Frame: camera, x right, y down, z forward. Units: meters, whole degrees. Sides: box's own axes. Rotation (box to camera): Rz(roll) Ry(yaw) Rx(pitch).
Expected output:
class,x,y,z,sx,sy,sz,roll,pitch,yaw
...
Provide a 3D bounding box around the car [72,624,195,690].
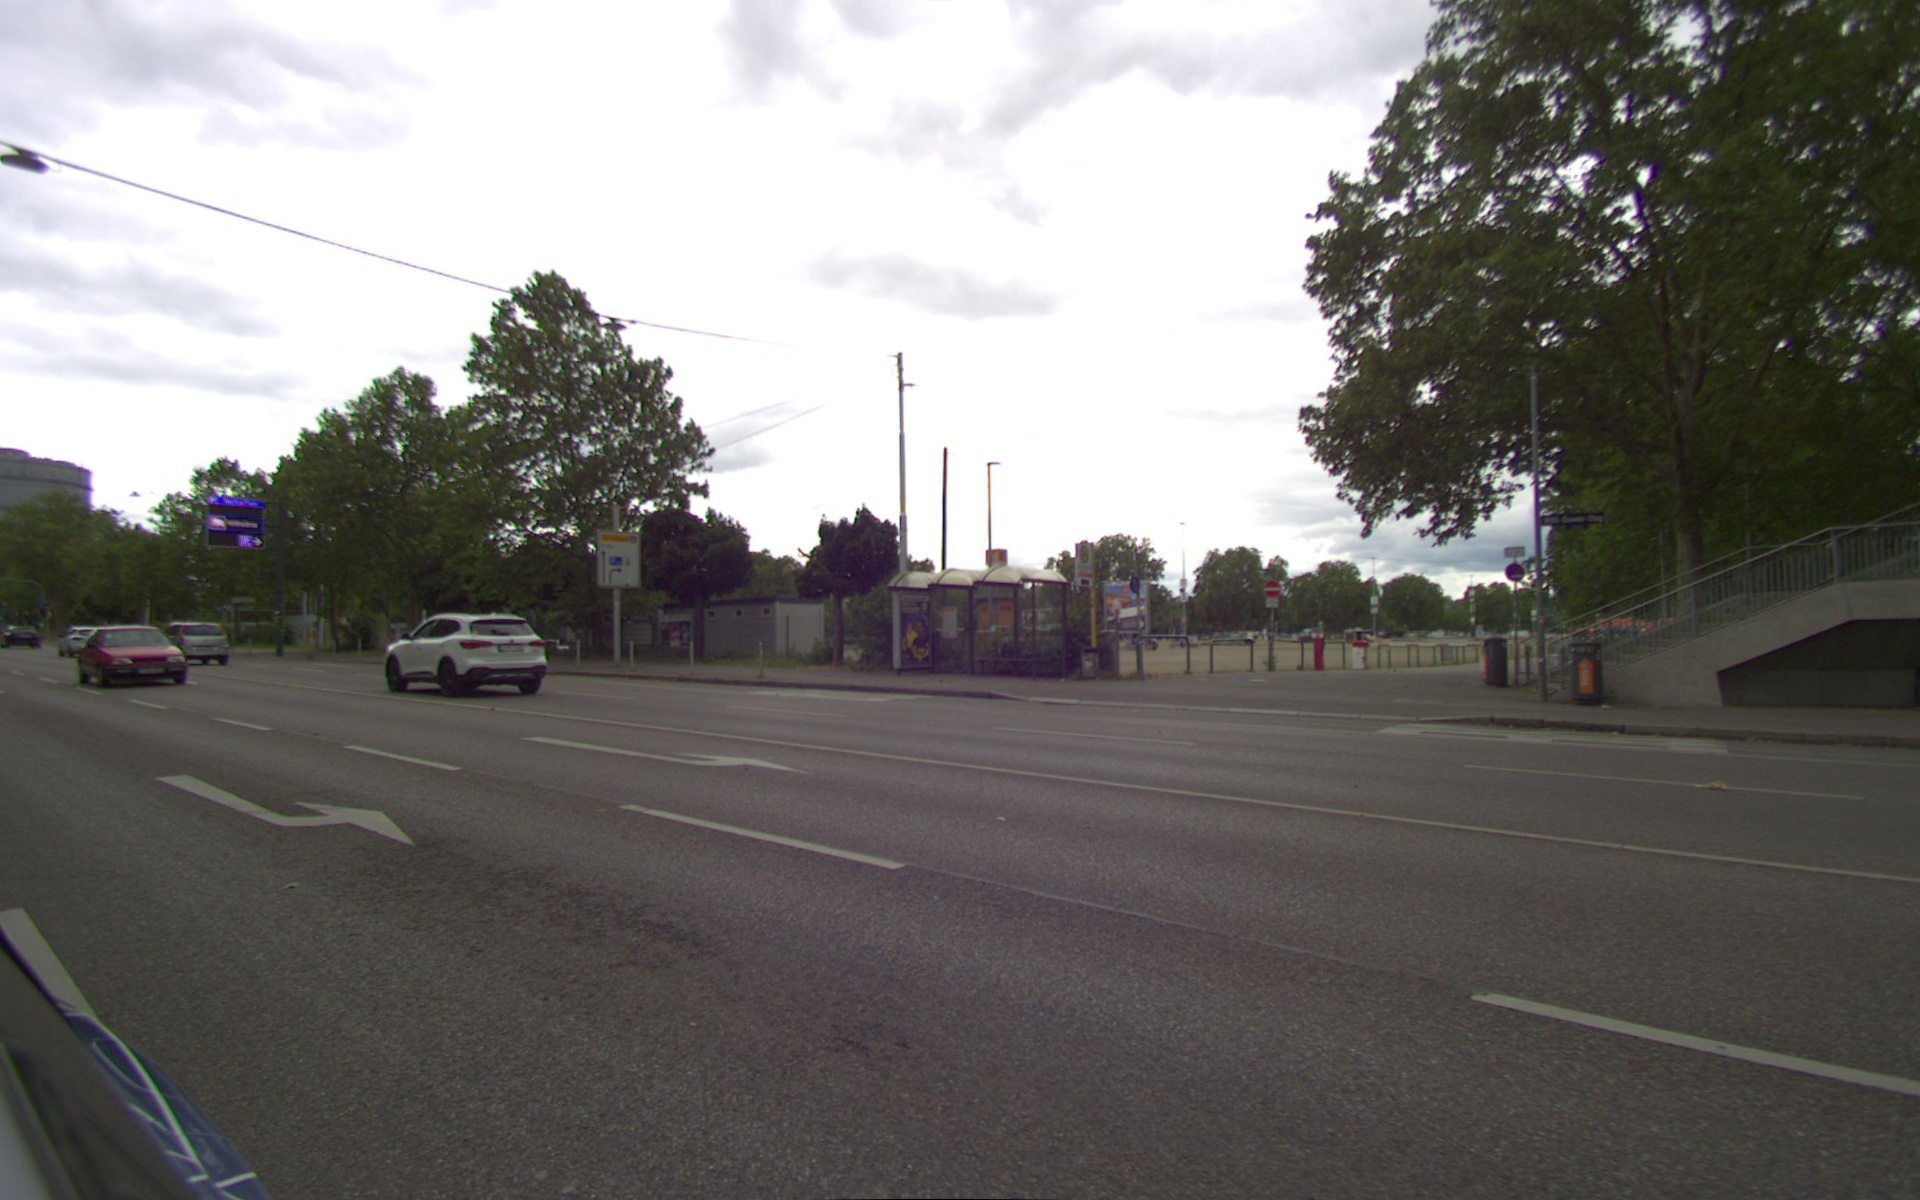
class,x,y,z,sx,sy,sz,roll,pitch,yaw
car,-20.409,1.356,24.934,4.076,1.463,1.809,-2,-1,43

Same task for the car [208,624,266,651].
class,x,y,z,sx,sy,sz,roll,pitch,yaw
car,-55.835,2.895,78.157,4.628,2.029,2.364,-1,-3,37

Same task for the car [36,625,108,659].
class,x,y,z,sx,sy,sz,roll,pitch,yaw
car,-42.403,1.978,48.287,4.382,1.542,1.973,-2,-2,41

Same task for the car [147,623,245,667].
class,x,y,z,sx,sy,sz,roll,pitch,yaw
car,-28.202,1.644,37.319,3.996,1.537,1.974,-1,-2,39

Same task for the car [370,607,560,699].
class,x,y,z,sx,sy,sz,roll,pitch,yaw
car,-10.570,1.051,21.466,4.592,1.758,1.973,-1,-2,41

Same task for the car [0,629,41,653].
class,x,y,z,sx,sy,sz,roll,pitch,yaw
car,-63.366,2.736,67.846,4.722,1.542,1.973,-2,-3,40
